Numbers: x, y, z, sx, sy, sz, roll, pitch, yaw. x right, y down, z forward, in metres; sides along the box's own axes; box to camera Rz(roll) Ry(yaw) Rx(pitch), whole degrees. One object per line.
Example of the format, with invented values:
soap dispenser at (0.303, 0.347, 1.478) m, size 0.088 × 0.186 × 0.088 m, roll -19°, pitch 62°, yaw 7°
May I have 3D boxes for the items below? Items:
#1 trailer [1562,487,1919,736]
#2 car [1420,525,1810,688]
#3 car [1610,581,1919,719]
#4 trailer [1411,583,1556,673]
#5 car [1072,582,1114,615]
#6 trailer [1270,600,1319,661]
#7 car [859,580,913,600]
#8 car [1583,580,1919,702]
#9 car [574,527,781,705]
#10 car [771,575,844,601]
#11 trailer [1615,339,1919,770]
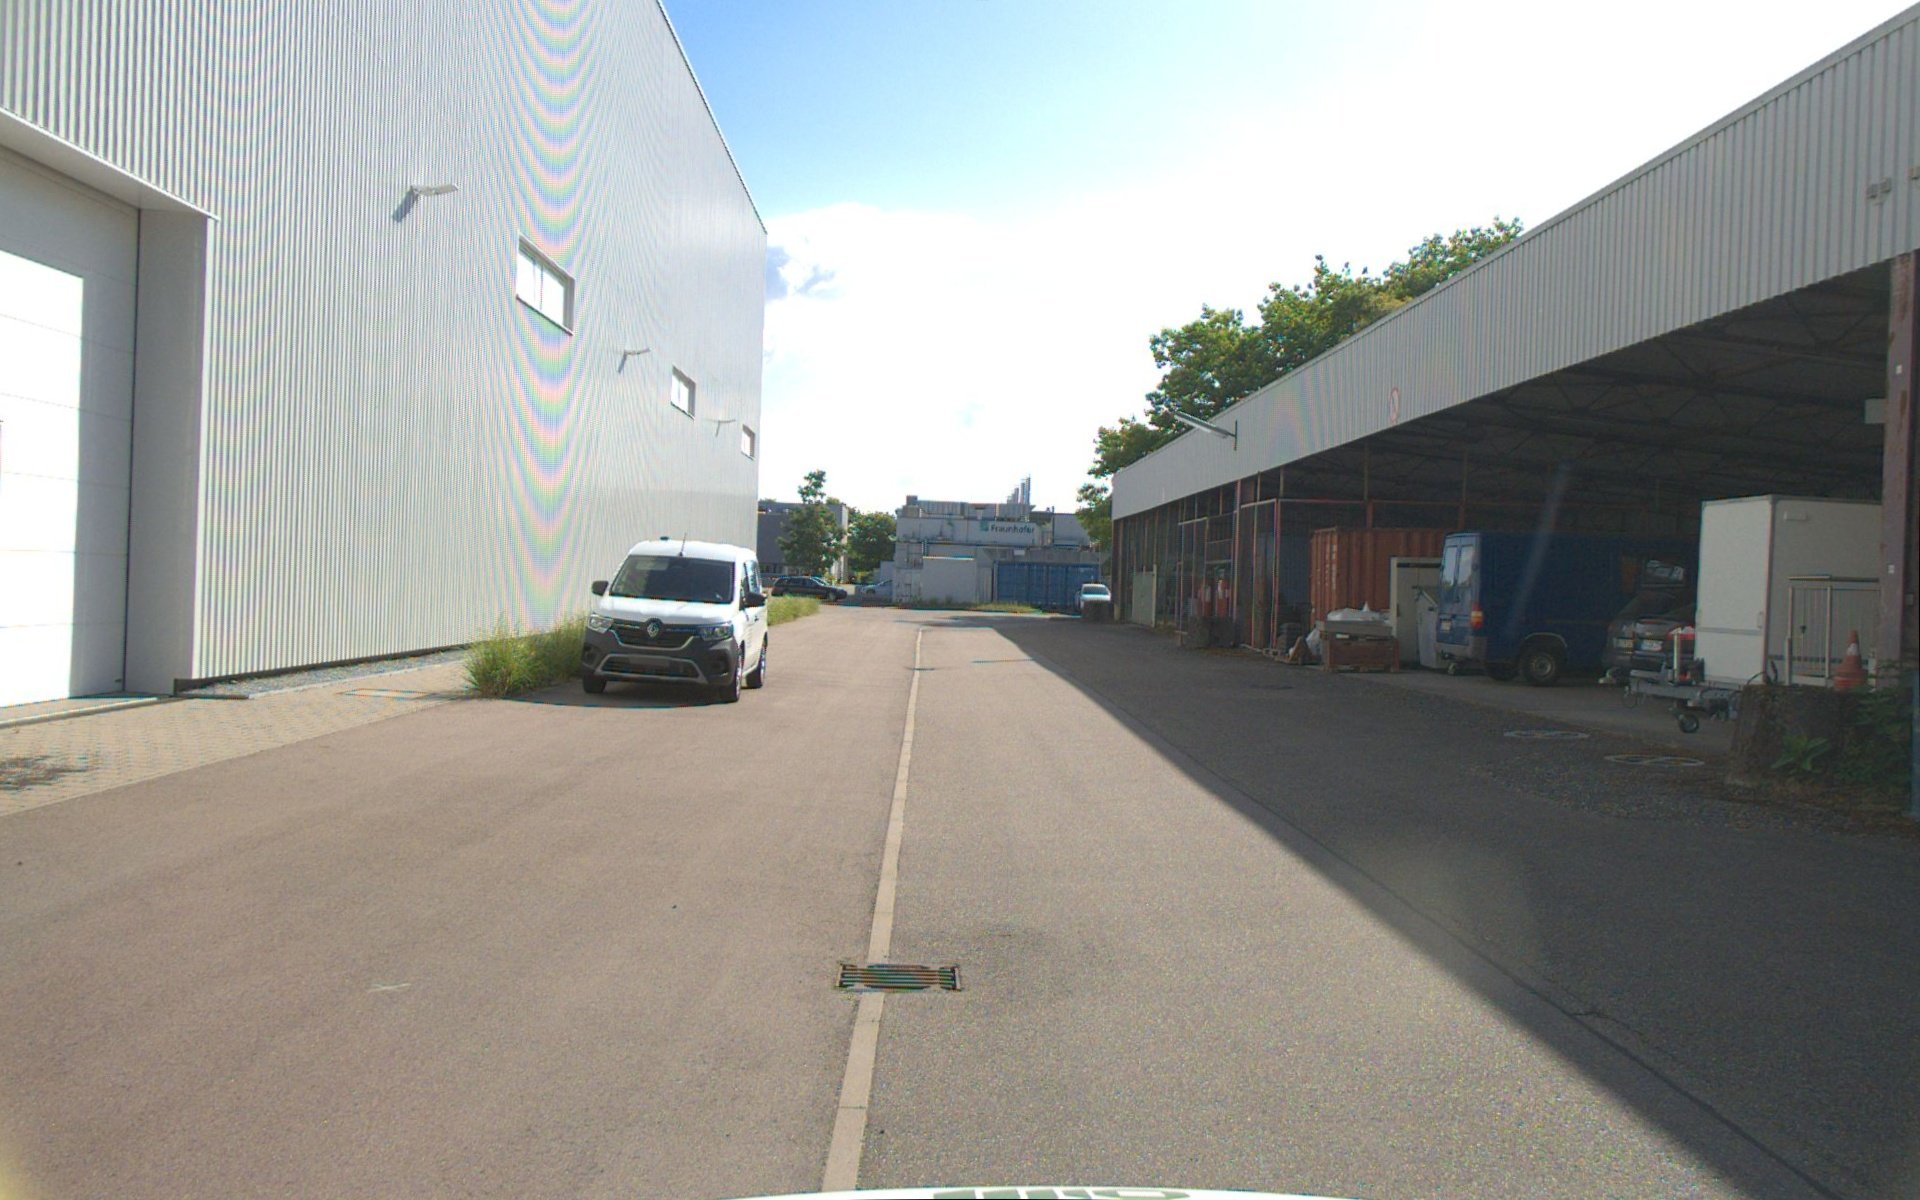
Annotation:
trailer at (8.766, 0.112, 17.004) m, size 4.424 × 2.383 × 2.047 m, roll 0°, pitch 0°, yaw 0°
car at (10.122, 0.098, 25.834) m, size 5.225 × 2.321 × 2.152 m, roll 1°, pitch 0°, yaw -2°
car at (10.155, 0.576, 19.598) m, size 4.164 × 1.497 × 1.868 m, roll 1°, pitch 1°, yaw -4°
trailer at (8.961, 0.453, 28.421) m, size 1.996 × 1.492 × 1.739 m, roll 0°, pitch 0°, yaw 3°
car at (7.217, -0.115, 90.062) m, size 1.939 × 1.630 × 4.378 m, roll 0°, pitch 2°, yaw 0°
trailer at (6.358, 0.566, 31.466) m, size 0.541 × 1.138 × 1.546 m, roll 0°, pitch 0°, yaw -3°
car at (-5.809, -0.776, 130.091) m, size 4.216 × 1.483 × 1.823 m, roll 1°, pitch 0°, yaw -2°
car at (10.846, 0.546, 22.700) m, size 3.886 × 1.540 × 1.838 m, roll 1°, pitch 0°, yaw -4°
car at (-3.318, 0.169, 20.296) m, size 1.747 × 1.847 × 4.600 m, roll 3°, pitch 0°, yaw -1°
car at (-9.369, -0.731, 102.104) m, size 4.358 × 1.557 × 1.823 m, roll 1°, pitch 0°, yaw -2°
trailer at (11.343, -0.347, 14.568) m, size 10.059 × 3.401 × 2.801 m, roll 0°, pitch 0°, yaw -1°
